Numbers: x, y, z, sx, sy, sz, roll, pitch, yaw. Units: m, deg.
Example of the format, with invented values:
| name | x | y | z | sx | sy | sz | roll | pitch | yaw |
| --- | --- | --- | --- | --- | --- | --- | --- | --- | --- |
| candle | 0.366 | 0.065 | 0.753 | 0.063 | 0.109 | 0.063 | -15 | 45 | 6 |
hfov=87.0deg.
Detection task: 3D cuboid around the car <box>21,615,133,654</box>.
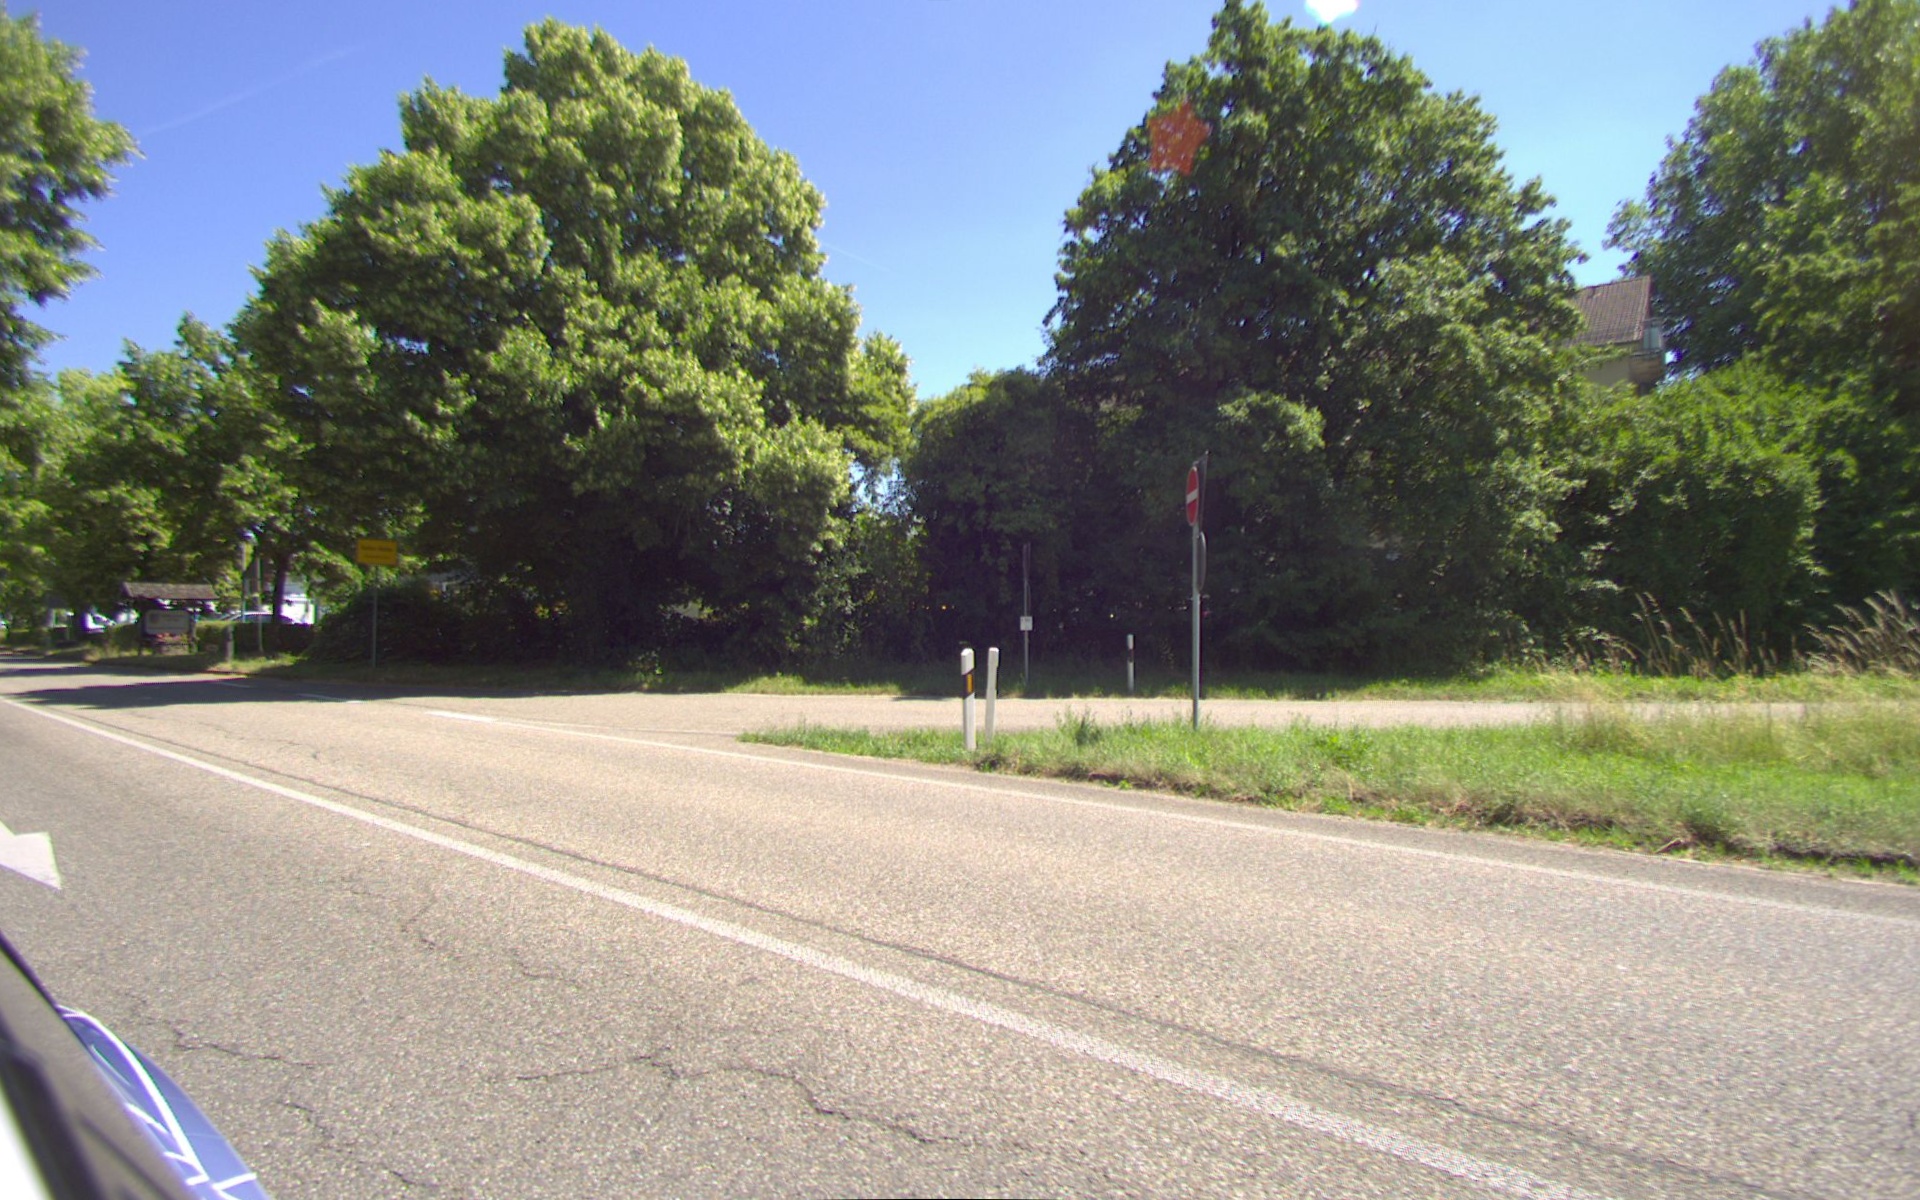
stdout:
| name | x | y | z | sx | sy | sz | roll | pitch | yaw |
| --- | --- | --- | --- | --- | --- | --- | --- | --- | --- |
| car | -48.424 | 1.860 | 55.570 | 1.901 | 1.995 | 4.318 | 0 | 0 | 35 |
